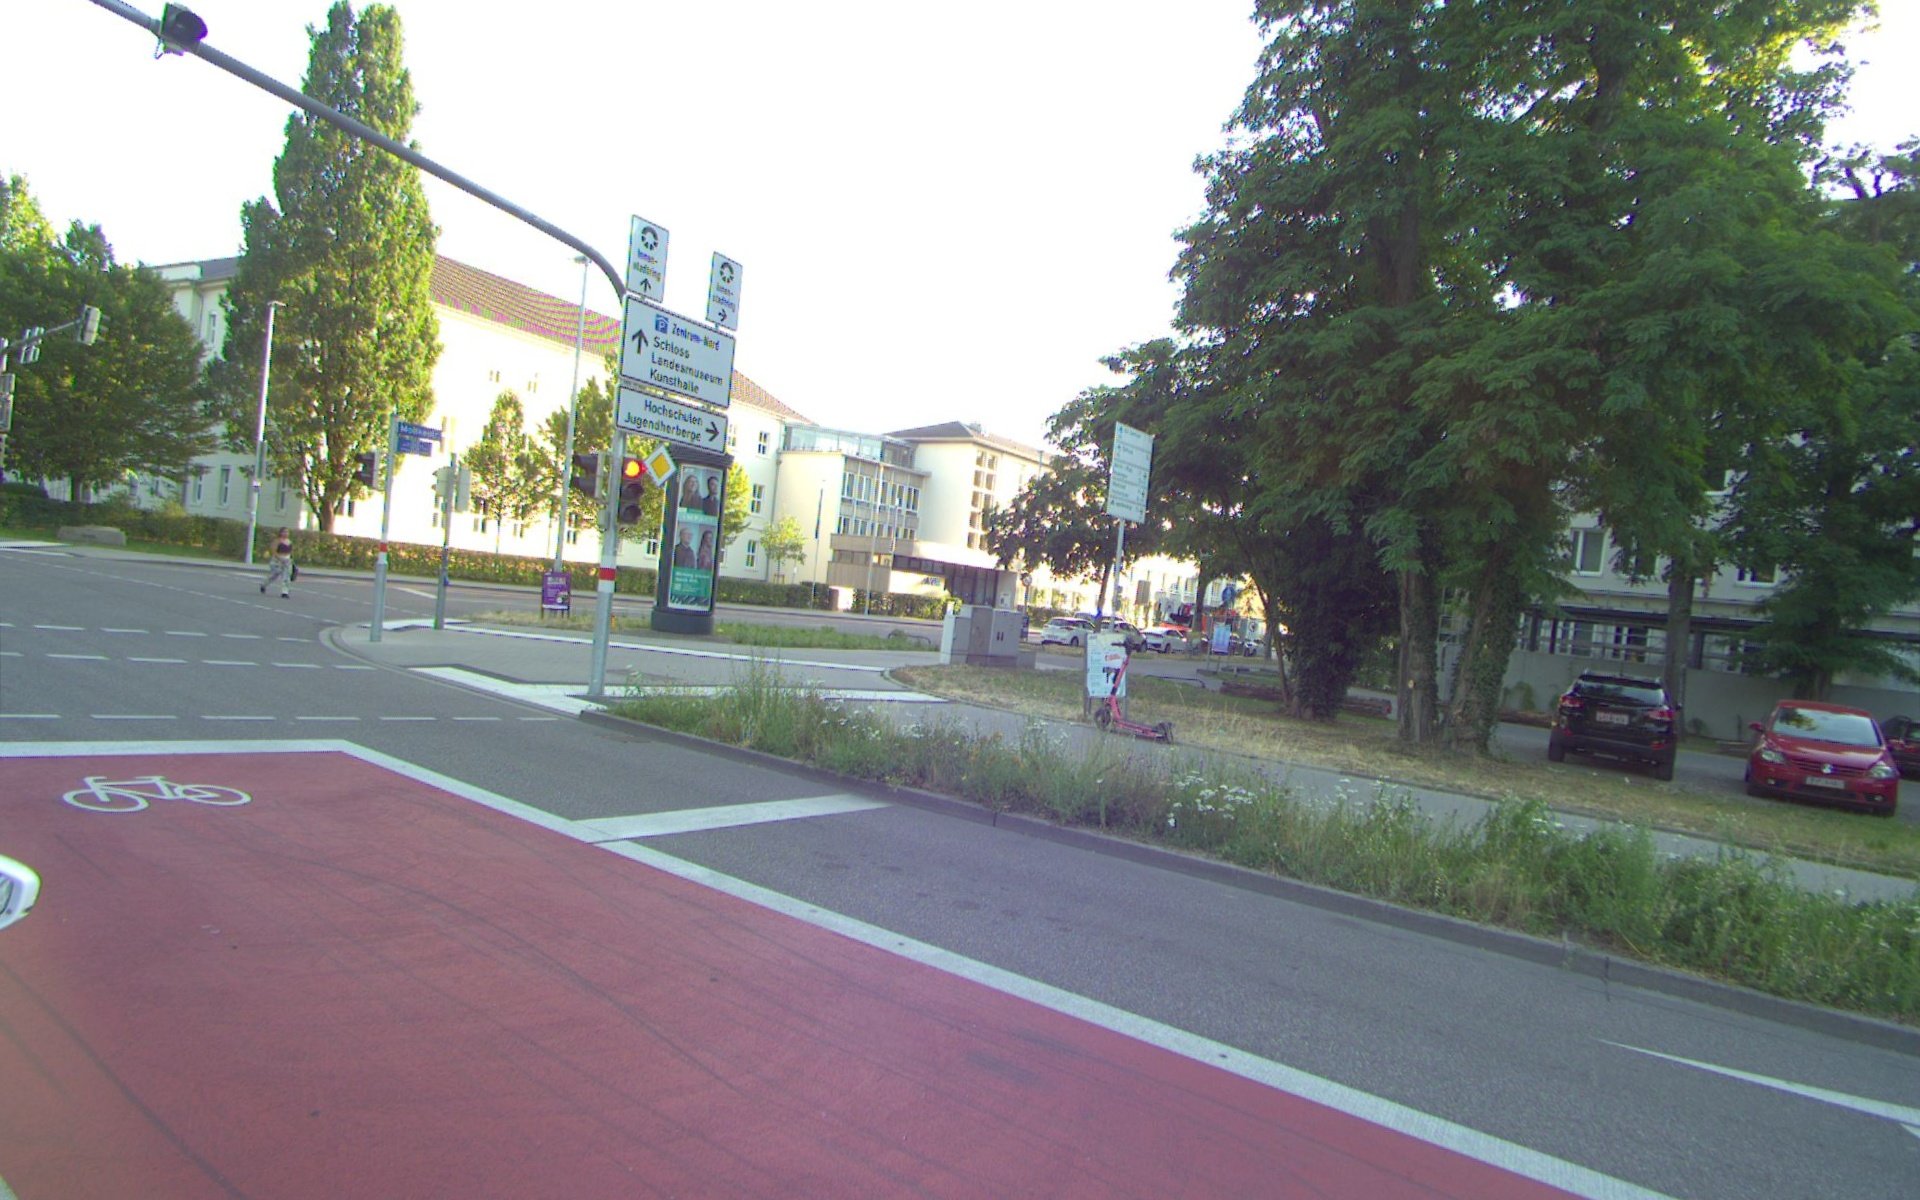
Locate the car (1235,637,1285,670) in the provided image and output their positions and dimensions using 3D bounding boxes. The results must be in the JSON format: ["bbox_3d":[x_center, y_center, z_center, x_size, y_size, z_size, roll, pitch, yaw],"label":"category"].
[{"bbox_3d":[20.372,3.655,68.234,1.873,1.831,3.988,7,-1,36],"label":"car"}]

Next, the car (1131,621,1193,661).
[{"bbox_3d":[11.074,2.267,55.103,1.720,1.783,3.989,7,-1,35],"label":"car"}]

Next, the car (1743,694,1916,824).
[{"bbox_3d":[13.994,2.452,16.400,1.759,1.581,3.984,7,0,38],"label":"car"}]

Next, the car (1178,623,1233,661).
[{"bbox_3d":[14.607,2.493,59.726,1.698,1.879,3.989,7,-1,35],"label":"car"}]

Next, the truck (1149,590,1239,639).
[{"bbox_3d":[15.860,1.059,67.461,2.327,2.315,10.049,7,-1,34],"label":"truck"}]

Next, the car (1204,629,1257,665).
[{"bbox_3d":[17.222,3.030,63.856,1.789,1.893,4.136,7,-1,35],"label":"car"}]

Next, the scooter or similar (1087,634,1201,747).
[{"bbox_3d":[2.329,1.134,12.805,1.289,1.247,0.311,7,1,32],"label":"scooter or similar"}]

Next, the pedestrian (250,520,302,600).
[{"bbox_3d":[-15.233,-0.891,22.418,0.680,1.656,0.600,8,1,33],"label":"pedestrian"}]

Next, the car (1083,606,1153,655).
[{"bbox_3d":[8.065,1.582,51.186,1.713,2.038,3.988,7,-1,36],"label":"car"}]

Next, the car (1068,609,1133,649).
[{"bbox_3d":[7.747,1.612,55.228,1.720,1.783,3.989,7,-1,35],"label":"car"}]

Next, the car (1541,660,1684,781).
[{"bbox_3d":[11.765,2.109,18.062,1.808,1.715,3.899,7,-1,36],"label":"car"}]

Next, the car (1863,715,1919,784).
[{"bbox_3d":[23.179,3.620,24.030,1.873,1.459,3.987,7,-1,37],"label":"car"}]

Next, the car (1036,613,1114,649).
[{"bbox_3d":[5.477,1.490,47.706,1.793,1.358,3.985,6,0,37],"label":"car"}]
